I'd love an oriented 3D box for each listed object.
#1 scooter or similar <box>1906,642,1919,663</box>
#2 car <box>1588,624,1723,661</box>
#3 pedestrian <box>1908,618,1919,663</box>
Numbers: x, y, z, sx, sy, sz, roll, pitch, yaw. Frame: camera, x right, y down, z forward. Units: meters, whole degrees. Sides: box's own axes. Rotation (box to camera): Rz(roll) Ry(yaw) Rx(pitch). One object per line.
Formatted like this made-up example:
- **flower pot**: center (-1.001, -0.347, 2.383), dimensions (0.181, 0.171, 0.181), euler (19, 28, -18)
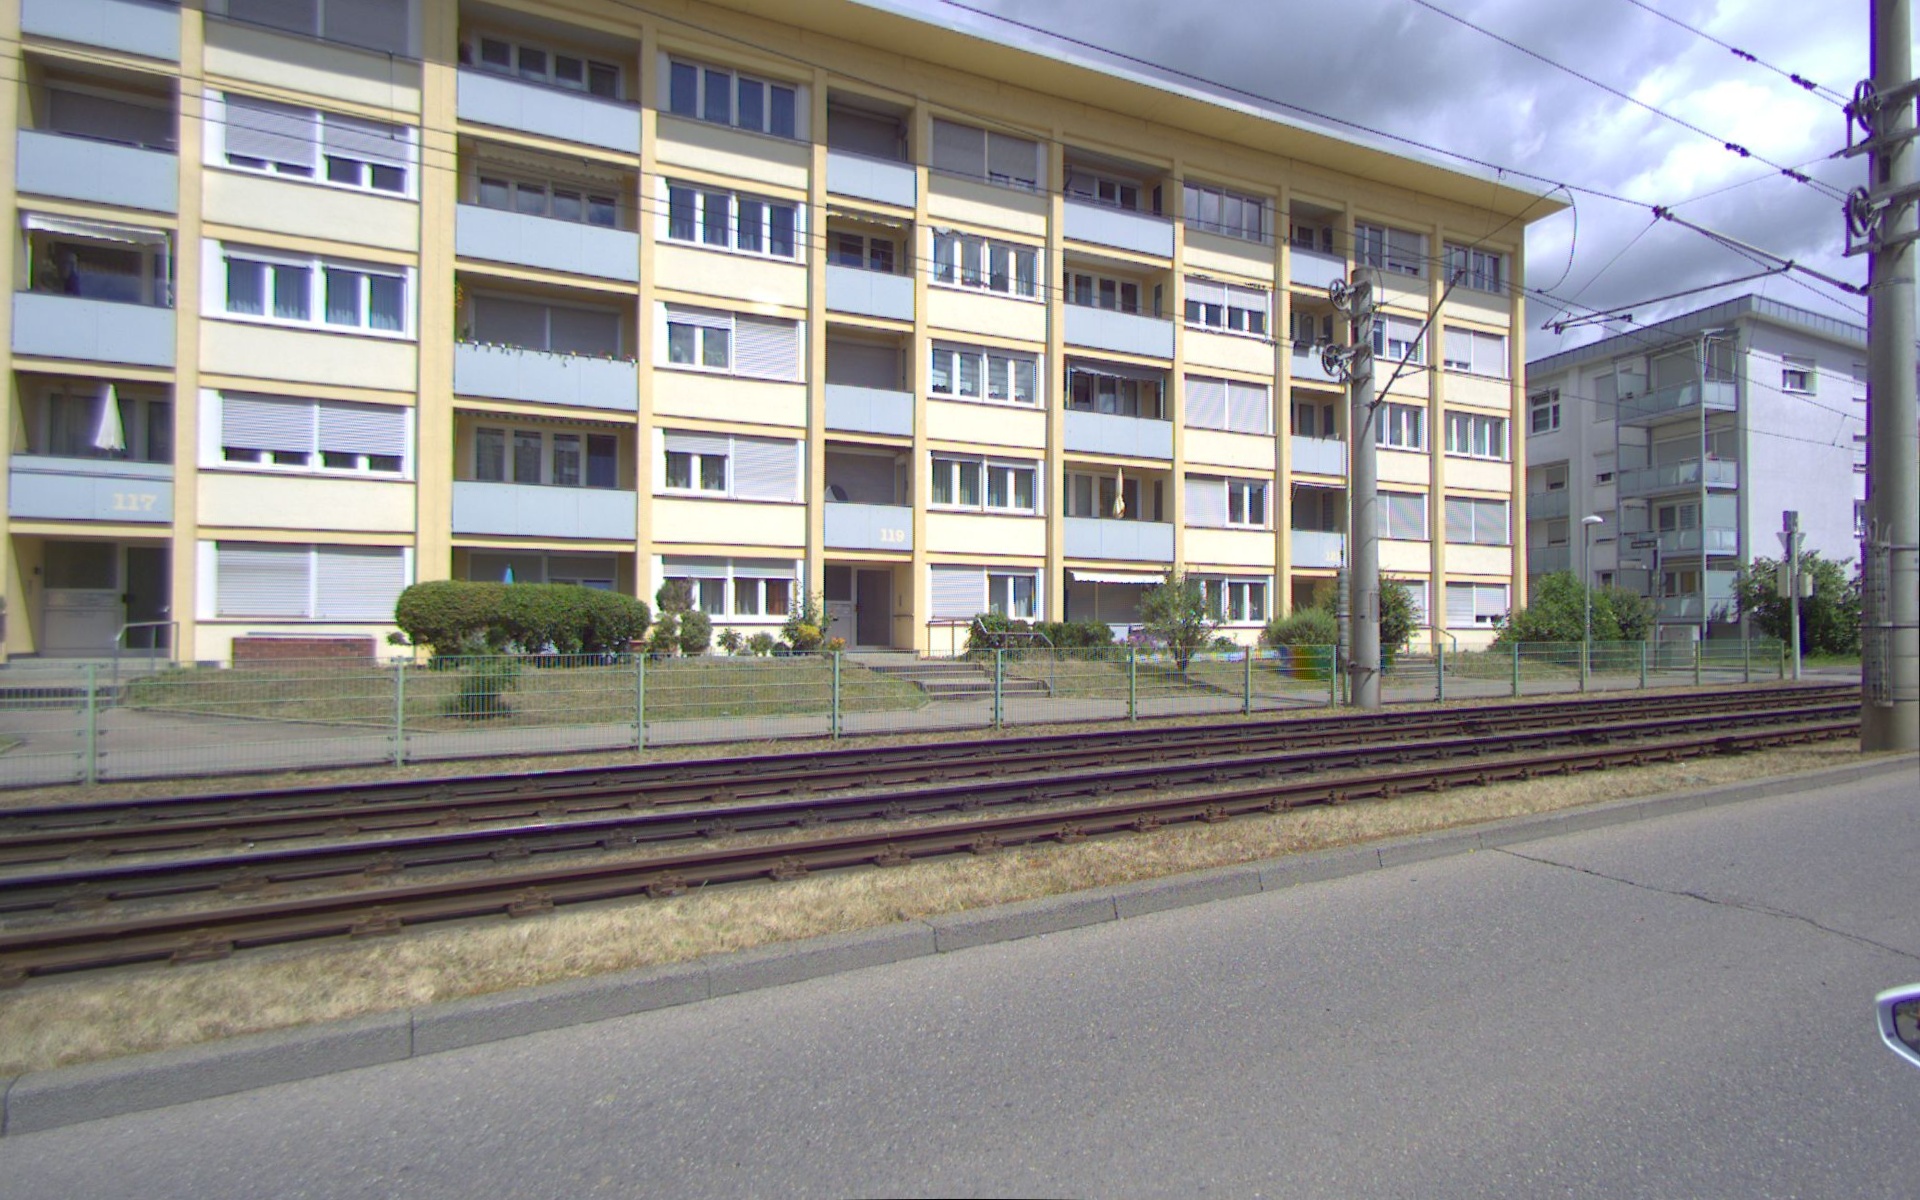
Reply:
- **scooter or similar**: center (34.124, 1.865, 35.790), dimensions (0.468, 0.757, 0.436), euler (1, -1, -25)
- **car**: center (27.010, 1.631, 39.130), dimensions (1.873, 1.363, 3.980), euler (1, -1, -21)
- **pedestrian**: center (34.501, 1.451, 36.116), dimensions (0.468, 1.602, 0.436), euler (0, -1, -25)
